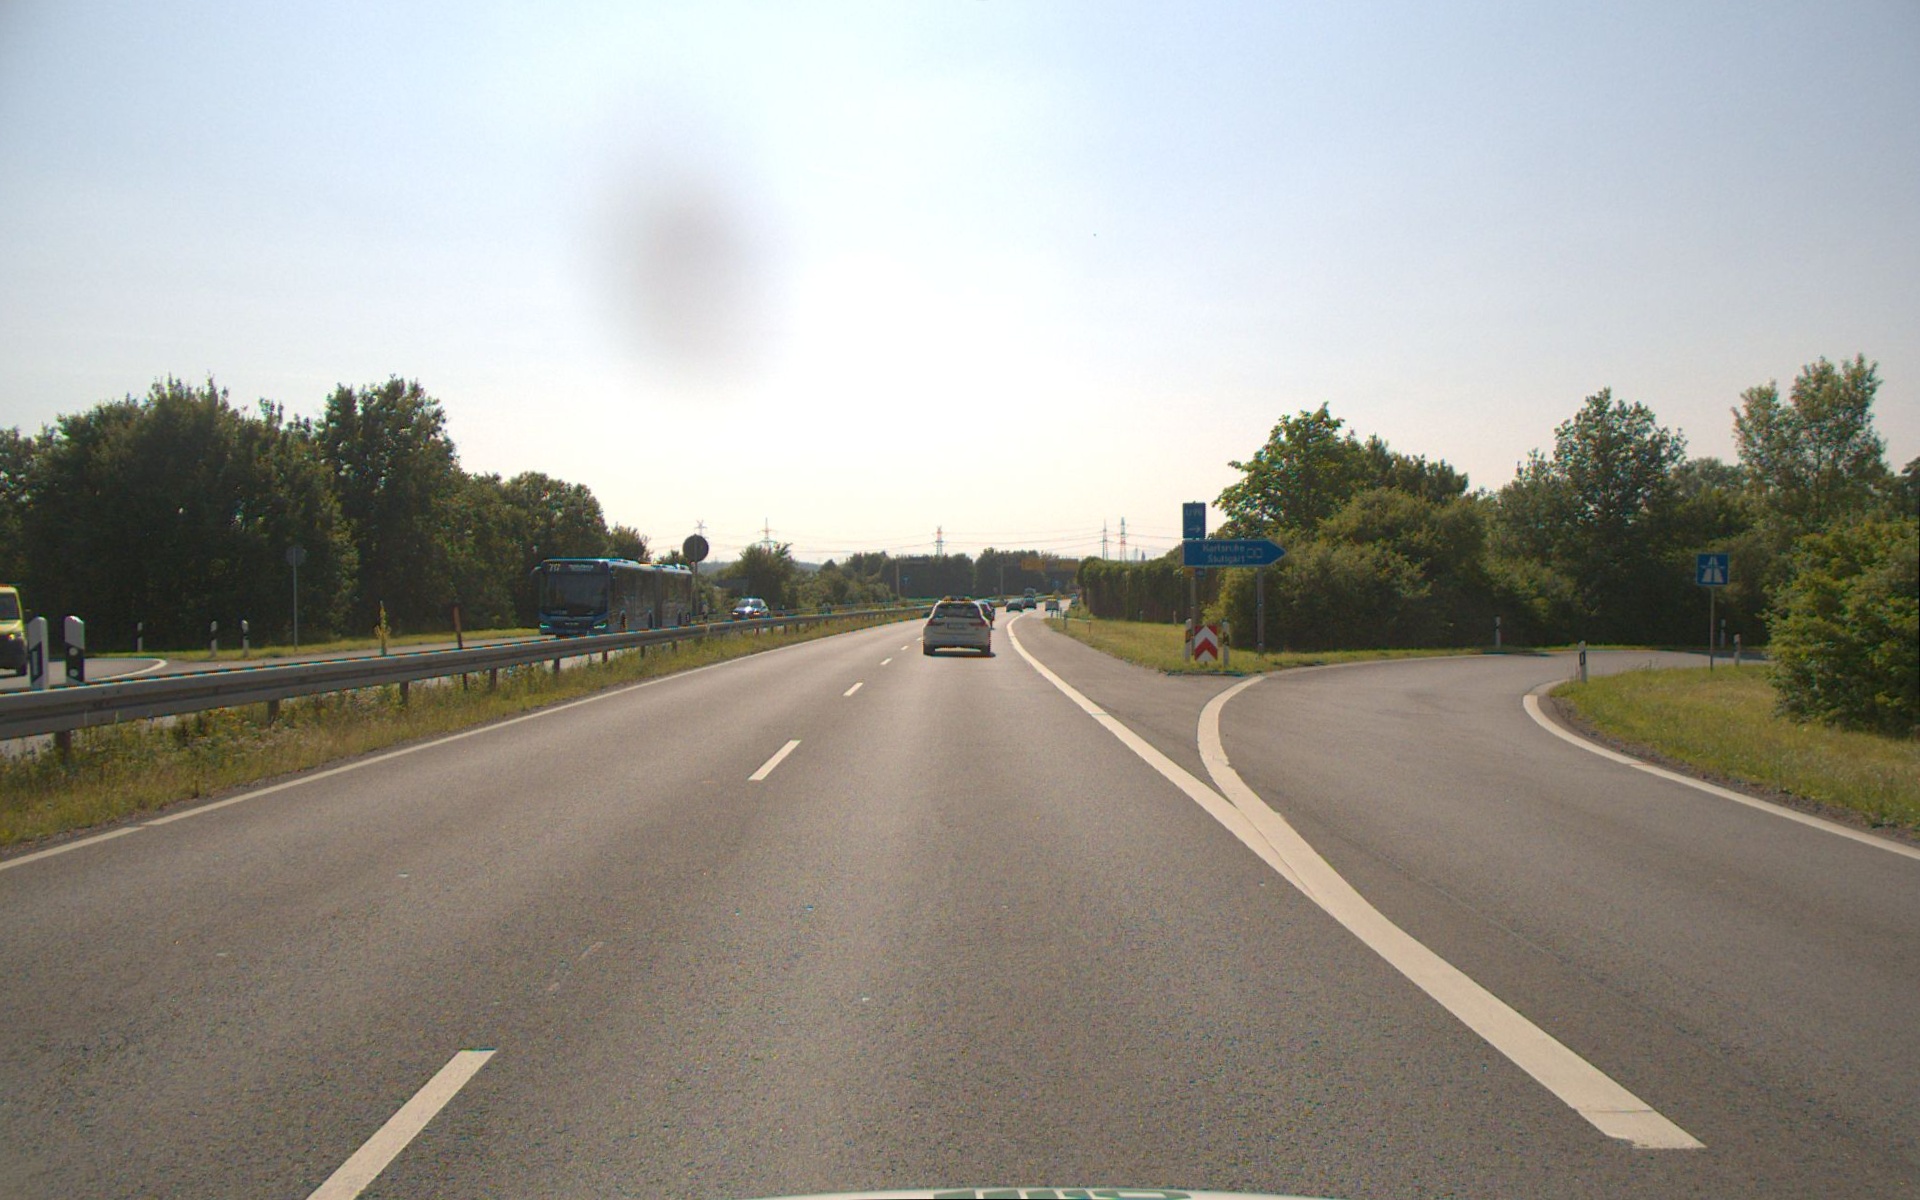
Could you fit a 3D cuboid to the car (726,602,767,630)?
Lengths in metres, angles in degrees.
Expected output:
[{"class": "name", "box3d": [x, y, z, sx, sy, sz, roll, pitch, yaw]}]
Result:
[{"class": "car", "box3d": [-13.271, 0.974, 103.109, 1.952, 1.633, 4.274, 1, 1, 1]}]

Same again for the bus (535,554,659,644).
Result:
[{"class": "bus", "box3d": [-13.814, -0.046, 63.775, 2.670, 3.164, 9.834, -1, 0, 0]}]

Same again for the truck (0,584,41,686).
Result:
[{"class": "truck", "box3d": [-25.461, 0.959, 43.289, 2.102, 2.496, 6.558, -3, 0, -27]}]

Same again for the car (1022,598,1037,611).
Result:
[{"class": "car", "box3d": [9.645, 0.664, 229.936, 1.803, 1.728, 3.999, 1, 0, 0]}]

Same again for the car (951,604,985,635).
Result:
[{"class": "car", "box3d": [0.425, 1.021, 88.747, 1.756, 1.570, 3.672, 1, 0, 0]}]

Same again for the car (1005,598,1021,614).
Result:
[{"class": "car", "box3d": [6.262, 0.744, 194.667, 1.802, 1.834, 4.002, 1, 0, 4]}]

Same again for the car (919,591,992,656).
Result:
[{"class": "car", "box3d": [-0.143, 0.612, 45.927, 1.918, 1.629, 4.107, 1, 1, -1]}]

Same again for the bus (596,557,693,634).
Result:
[{"class": "bus", "box3d": [-13.773, -0.208, 72.865, 2.669, 3.164, 8.393, -1, 0, 0]}]

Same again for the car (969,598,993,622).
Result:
[{"class": "car", "box3d": [1.655, 0.780, 128.497, 1.732, 1.767, 3.633, 1, 0, 3]}]
